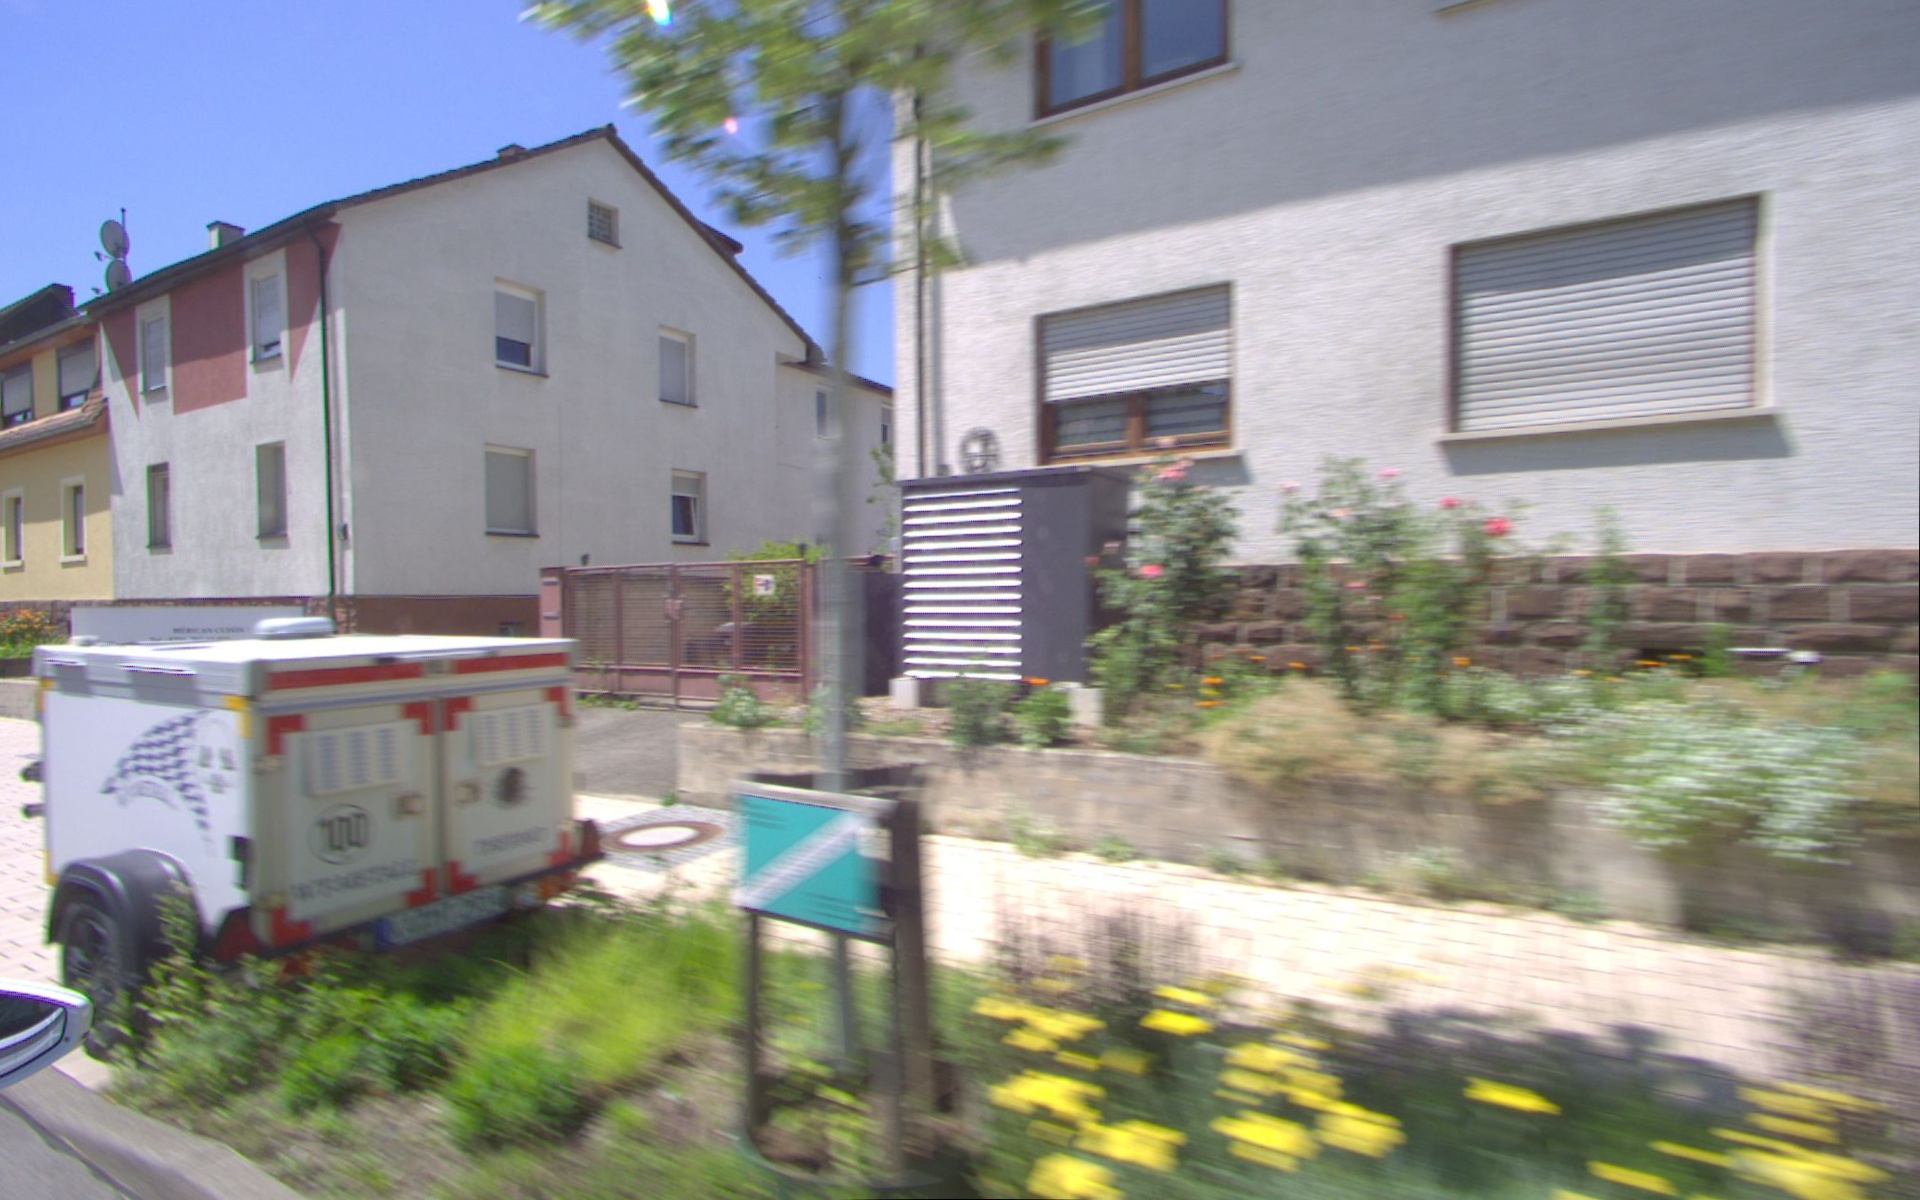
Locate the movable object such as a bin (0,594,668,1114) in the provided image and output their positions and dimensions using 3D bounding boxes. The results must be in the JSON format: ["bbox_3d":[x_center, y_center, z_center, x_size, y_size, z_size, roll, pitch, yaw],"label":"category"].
[{"bbox_3d":[-2.893,0.745,4.219,2.998,1.435,1.569,-2,0,31],"label":"movable object such as a bin"}]

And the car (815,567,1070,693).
[{"bbox_3d":[-0.116,0.375,15.140,1.972,1.625,3.978,-2,0,32],"label":"car"}]
